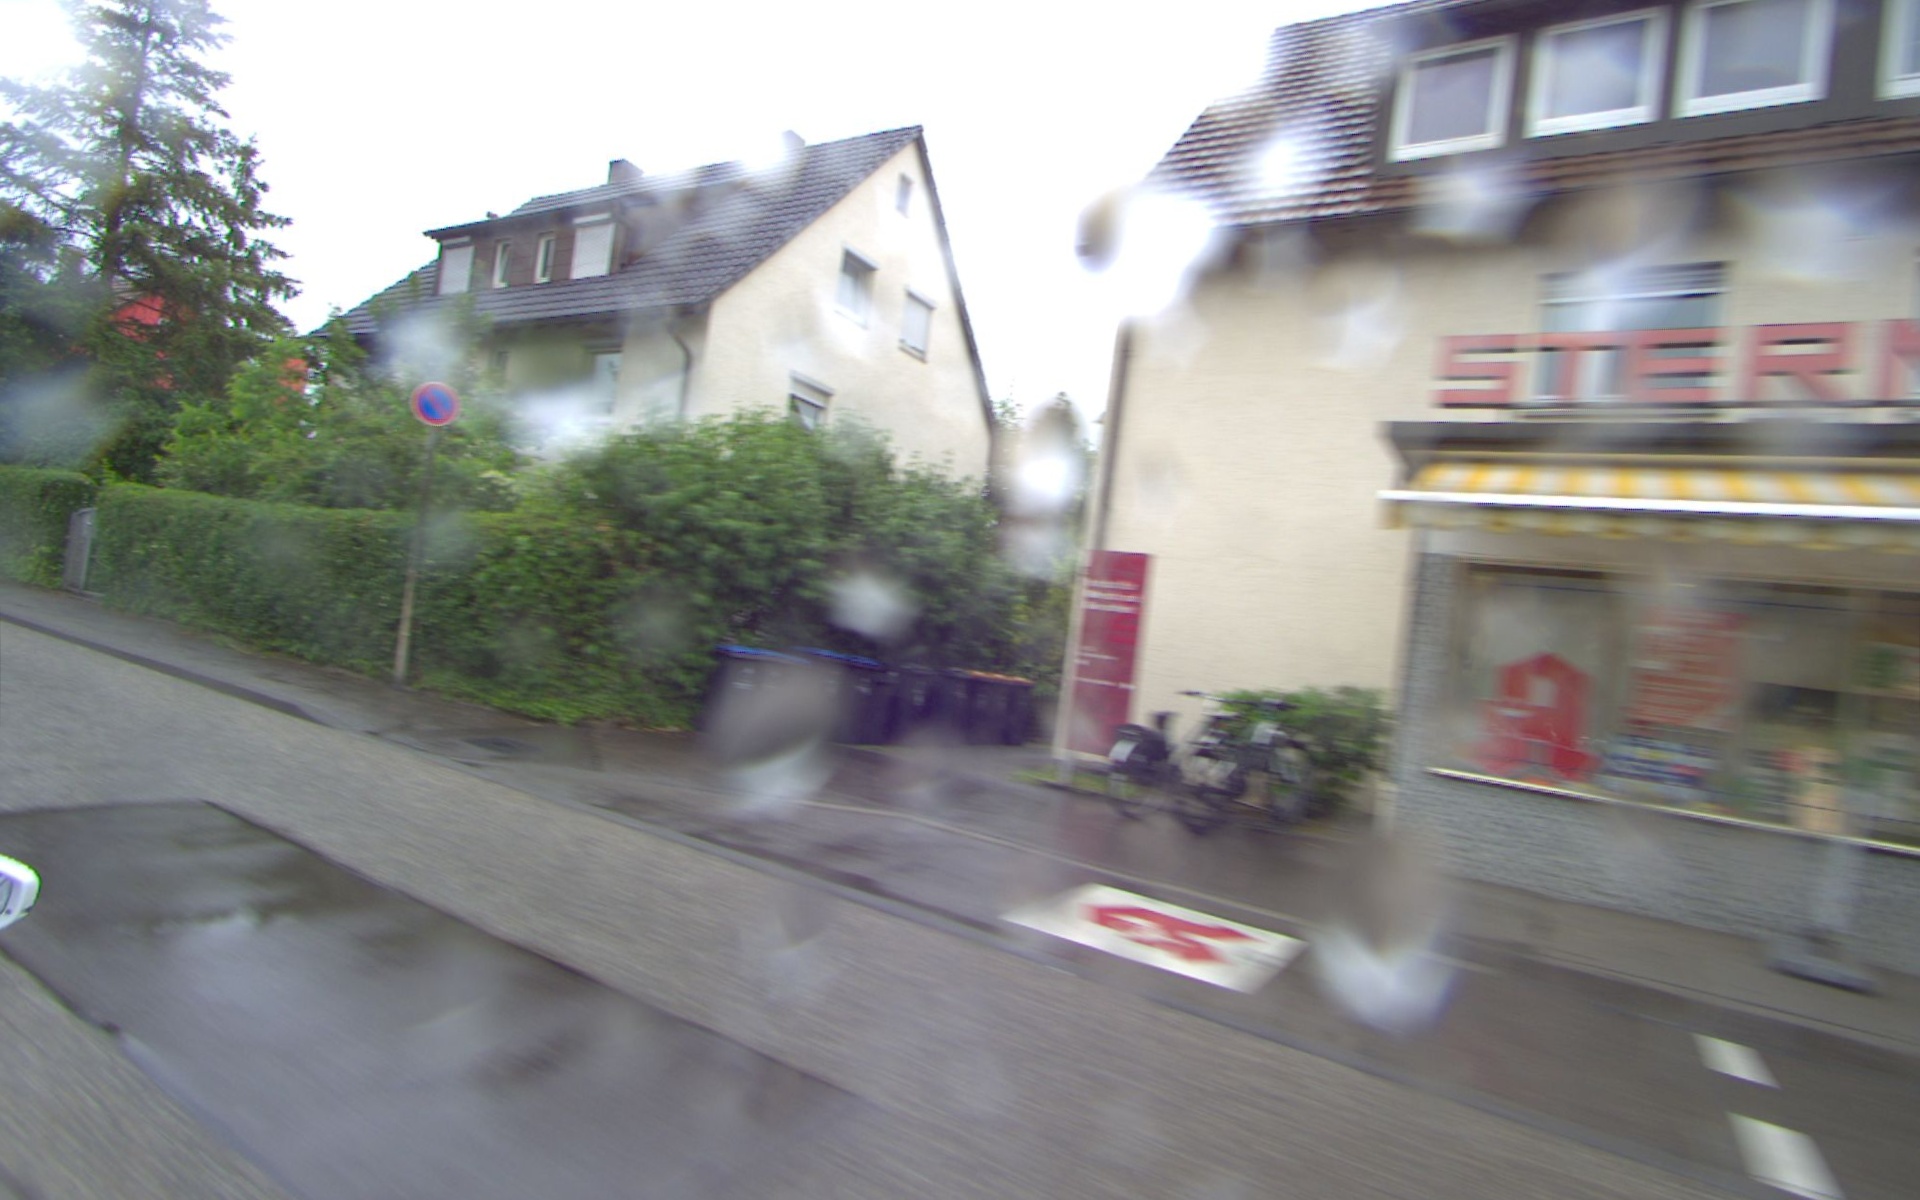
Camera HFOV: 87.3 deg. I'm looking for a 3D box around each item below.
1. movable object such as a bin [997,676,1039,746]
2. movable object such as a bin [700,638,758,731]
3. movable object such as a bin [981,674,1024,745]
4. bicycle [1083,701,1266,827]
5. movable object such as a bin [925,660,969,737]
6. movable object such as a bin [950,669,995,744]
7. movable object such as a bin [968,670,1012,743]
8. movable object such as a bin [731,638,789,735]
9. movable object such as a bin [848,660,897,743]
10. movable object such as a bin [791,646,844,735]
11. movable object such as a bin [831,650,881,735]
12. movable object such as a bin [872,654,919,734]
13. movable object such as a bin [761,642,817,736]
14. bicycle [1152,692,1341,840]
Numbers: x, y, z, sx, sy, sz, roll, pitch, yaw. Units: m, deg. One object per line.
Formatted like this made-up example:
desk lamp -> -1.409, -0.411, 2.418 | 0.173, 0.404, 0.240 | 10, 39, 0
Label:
movable object such as a bin -> 0.933, 1.767, 16.047 | 0.390, 1.049, 0.421 | 7, -1, 31
movable object such as a bin -> -2.418, 0.885, 10.540 | 0.322, 0.927, 0.367 | 7, -1, 31
movable object such as a bin -> 0.667, 1.710, 15.720 | 0.390, 1.049, 0.421 | 7, -1, 31
bicycle -> 1.920, 1.406, 8.914 | 1.636, 0.945, 0.616 | 4, 1, -38
movable object such as a bin -> -0.176, 1.338, 13.674 | 0.349, 0.998, 0.367 | 7, -1, 31
movable object such as a bin -> 0.185, 1.574, 14.900 | 0.390, 1.049, 0.421 | 7, -1, 31
movable object such as a bin -> 0.462, 1.623, 15.370 | 0.390, 1.049, 0.421 | 7, -1, 31
movable object such as a bin -> -2.172, 0.937, 10.953 | 0.349, 0.998, 0.367 | 7, -1, 31
movable object such as a bin -> -1.103, 1.284, 12.760 | 0.349, 0.998, 0.367 | 7, -1, 31
movable object such as a bin -> -1.673, 1.066, 11.840 | 0.349, 0.998, 0.367 | 7, -1, 31
movable object such as a bin -> -1.282, 1.141, 12.420 | 0.349, 0.998, 0.367 | 7, -1, 31
movable object such as a bin -> -0.844, 1.231, 13.182 | 0.349, 0.998, 0.367 | 7, -1, 31
movable object such as a bin -> -1.933, 1.008, 11.373 | 0.349, 0.998, 0.367 | 7, -1, 31
bicycle -> 2.440, 1.350, 8.485 | 1.636, 1.061, 0.616 | 4, 2, -38
